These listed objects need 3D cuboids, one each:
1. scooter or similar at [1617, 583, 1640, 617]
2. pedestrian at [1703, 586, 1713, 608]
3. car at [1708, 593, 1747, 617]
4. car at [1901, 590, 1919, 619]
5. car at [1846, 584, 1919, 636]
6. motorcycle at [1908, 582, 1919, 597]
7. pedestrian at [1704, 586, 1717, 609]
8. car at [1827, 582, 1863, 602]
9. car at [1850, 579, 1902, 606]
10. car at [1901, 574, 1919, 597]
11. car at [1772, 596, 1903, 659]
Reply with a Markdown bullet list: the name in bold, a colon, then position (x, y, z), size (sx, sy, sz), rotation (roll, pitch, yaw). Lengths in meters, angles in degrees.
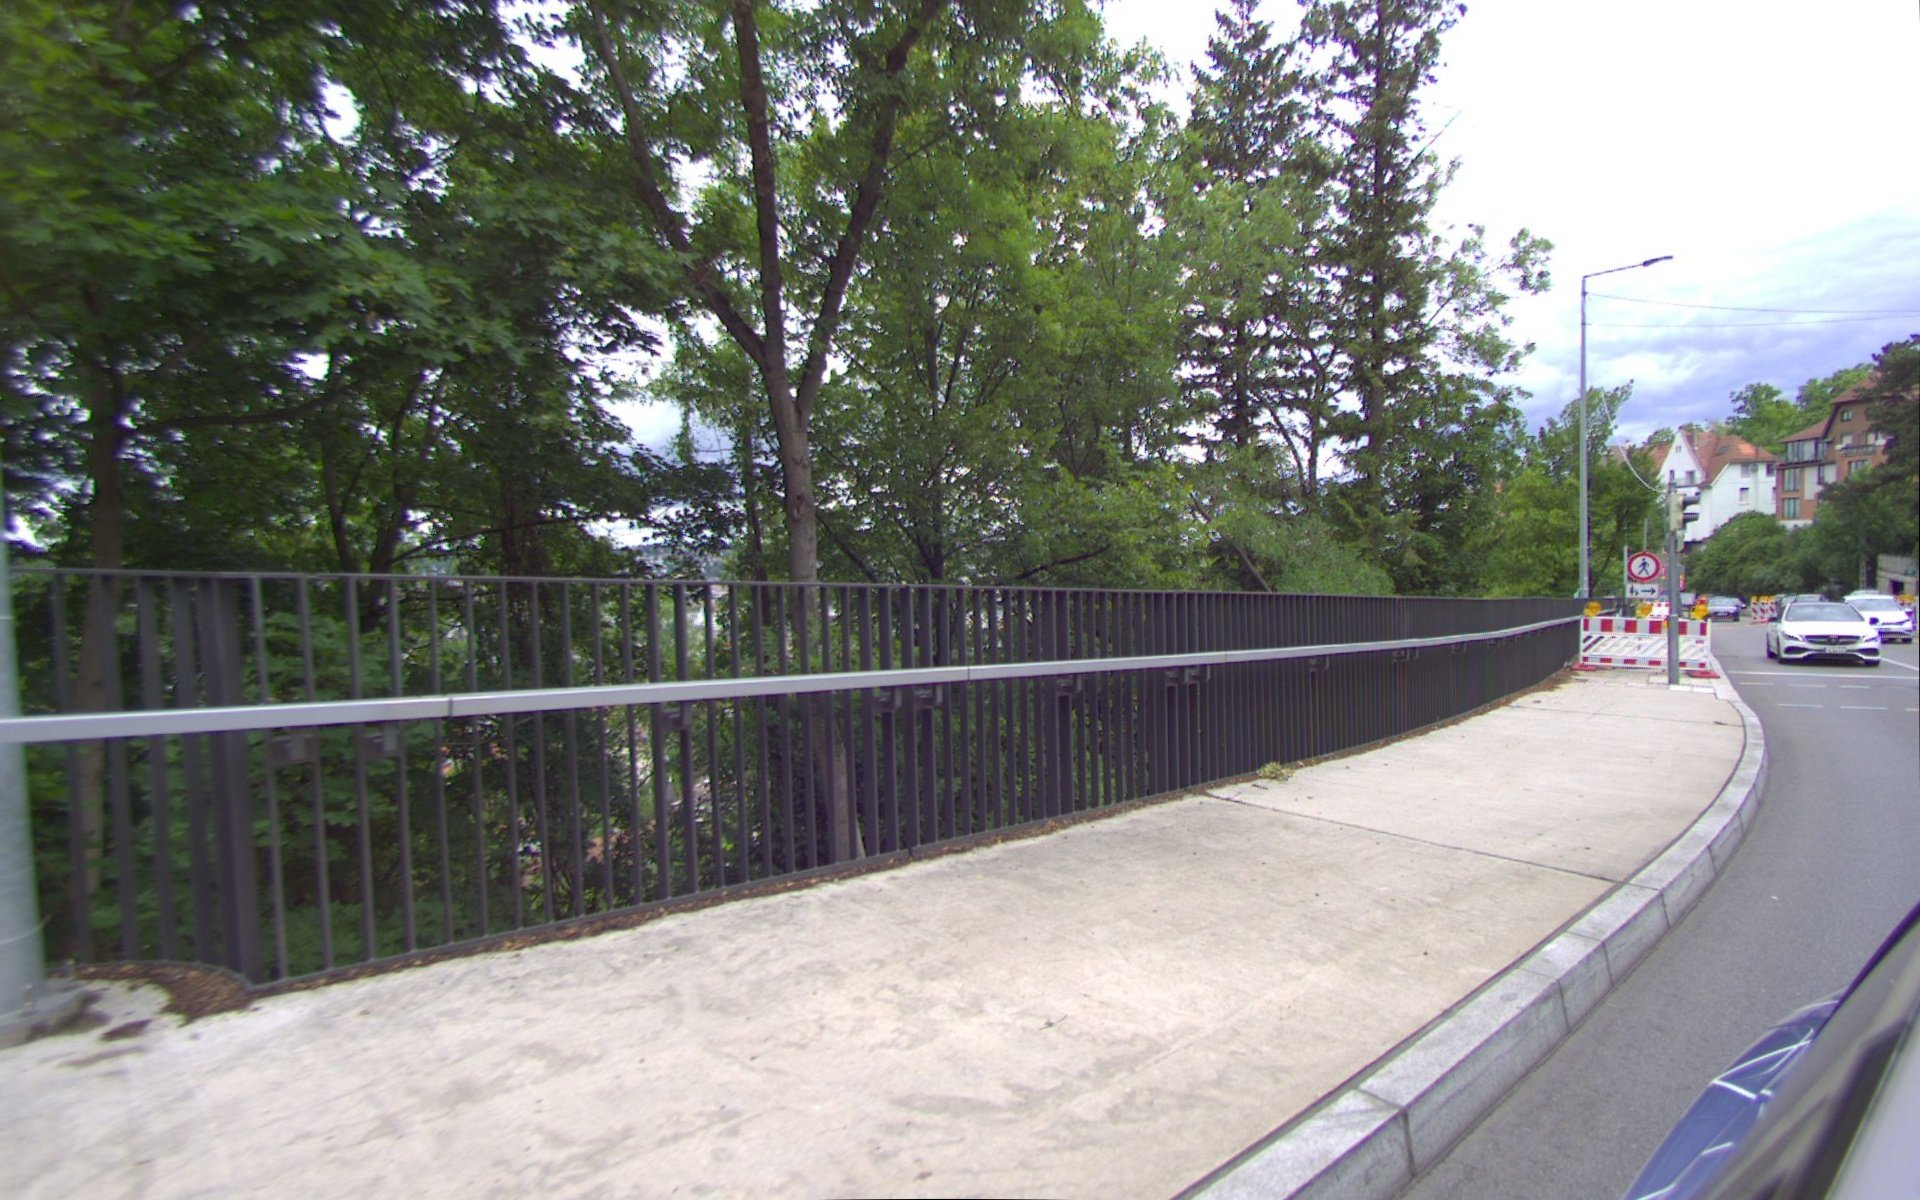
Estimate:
- **scooter or similar**: position (24.941, 0.014, 37.758), size (0.534, 1.242, 1.188), rotation (1, 0, 42)
- **pedestrian**: position (63.210, -0.254, 85.515), size (0.521, 1.866, 0.790), rotation (2, 1, 25)
- **car**: position (49.237, 0.304, 64.962), size (1.834, 1.474, 4.567), rotation (-1, 0, 36)
- **car**: position (52.235, 0.215, 54.368), size (1.765, 1.460, 4.686), rotation (-3, -1, 35)
- **car**: position (30.848, 0.305, 33.667), size (1.878, 1.598, 3.943), rotation (-3, -1, 40)
- **motorcycle**: position (80.209, -0.889, 84.229), size (1.835, 1.197, 0.628), rotation (-3, 3, 40)
- **pedestrian**: position (62.498, -0.219, 84.257), size (0.633, 1.882, 0.828), rotation (2, 1, 25)
- **car**: position (75.795, -0.661, 86.697), size (1.825, 1.613, 4.595), rotation (-3, -1, 36)
- **car**: position (65.151, -0.511, 72.029), size (1.793, 1.813, 4.296), rotation (-2, -1, 30)
- **car**: position (81.428, -1.288, 86.016), size (1.563, 1.623, 3.546), rotation (-3, 3, 35)
- **car**: position (20.430, 0.581, 23.721), size (1.786, 1.323, 4.051), rotation (0, 0, 34)
